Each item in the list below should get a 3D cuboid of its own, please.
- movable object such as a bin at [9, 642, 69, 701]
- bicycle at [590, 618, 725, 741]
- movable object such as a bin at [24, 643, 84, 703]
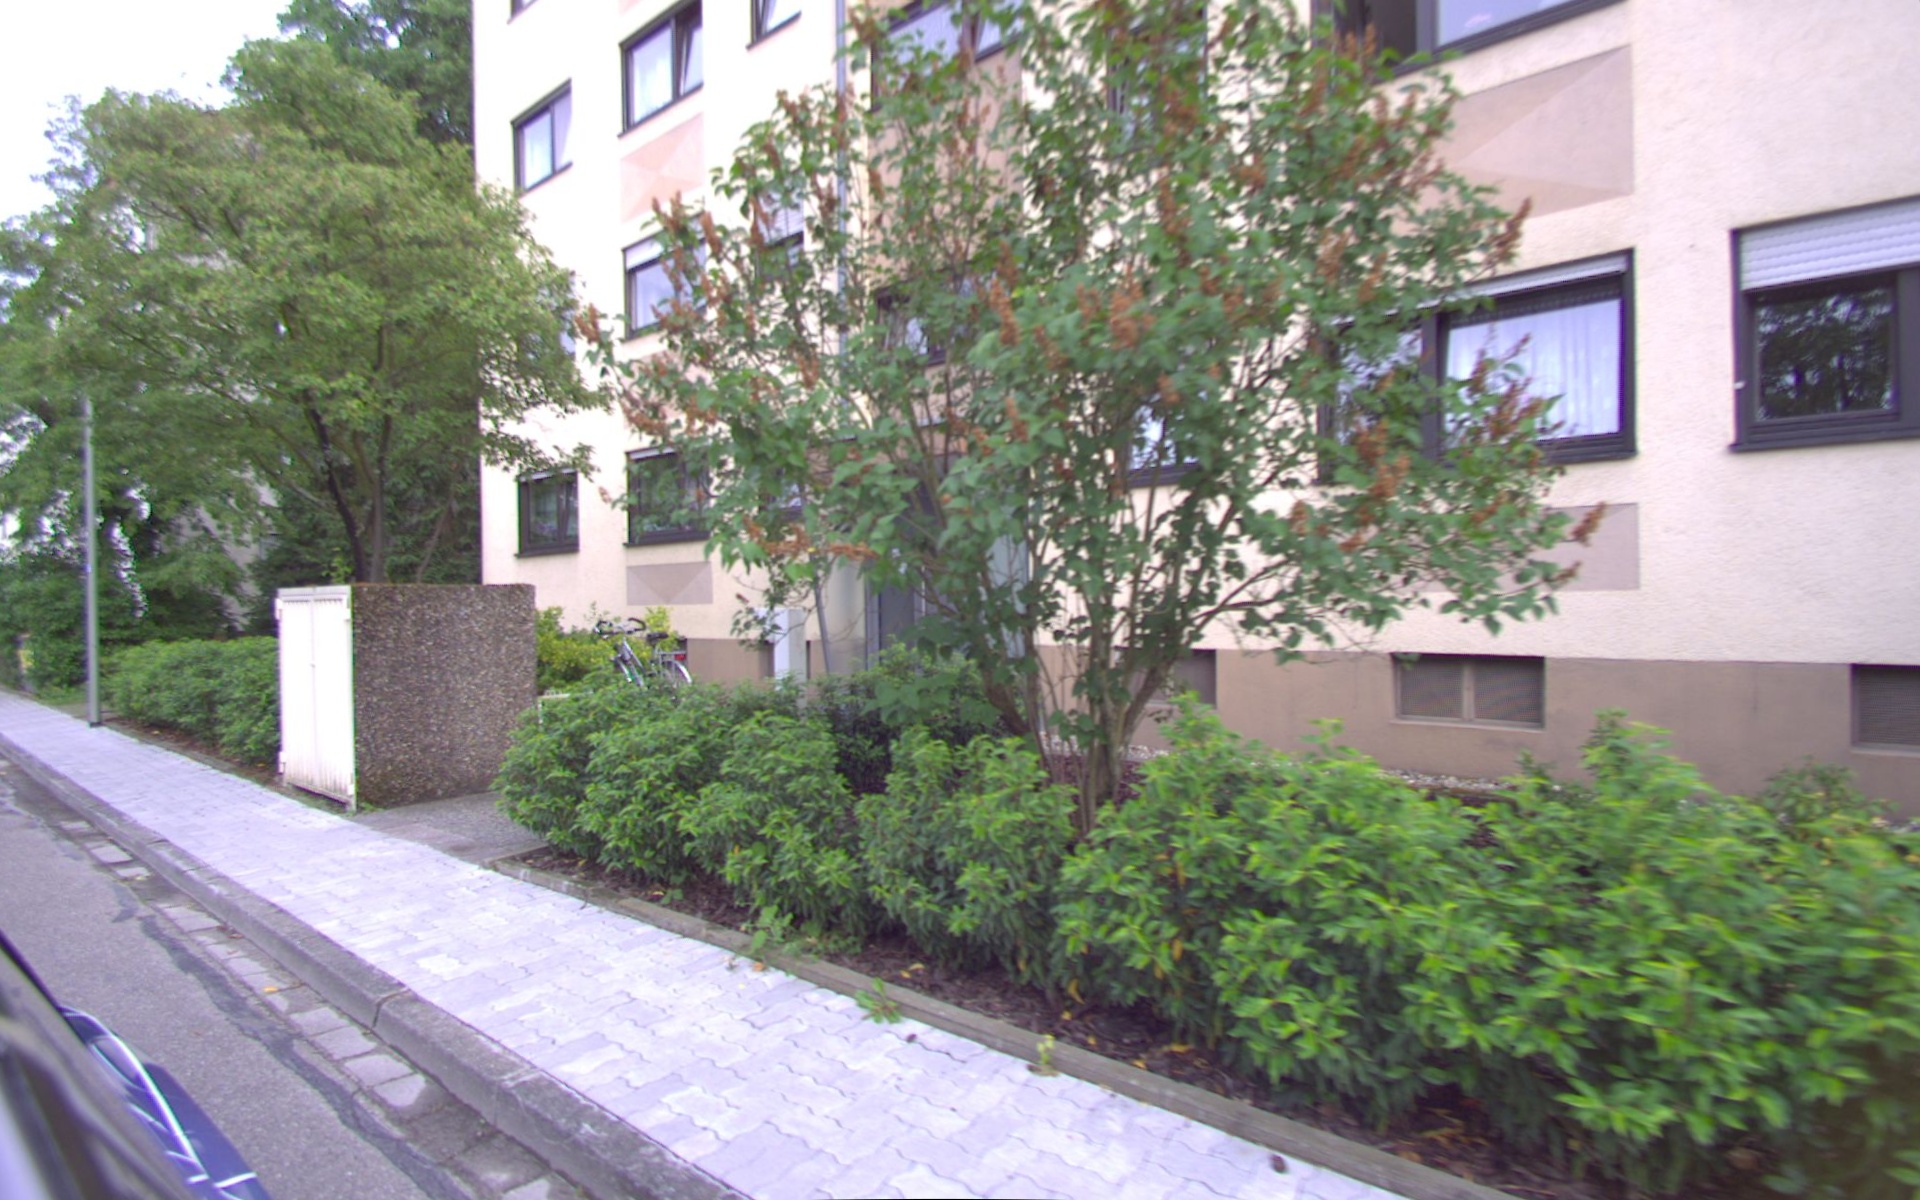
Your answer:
[{"bbox_3d":[-16.450,1.265,18.086,0.534,1.030,0.592,-1,-3,21],"label":"movable object such as a bin"},{"bbox_3d":[-2.858,0.732,9.459,1.690,1.059,0.311,-4,-3,40],"label":"bicycle"},{"bbox_3d":[-15.919,1.268,17.784,0.534,1.030,0.592,-1,-3,21],"label":"movable object such as a bin"}]
